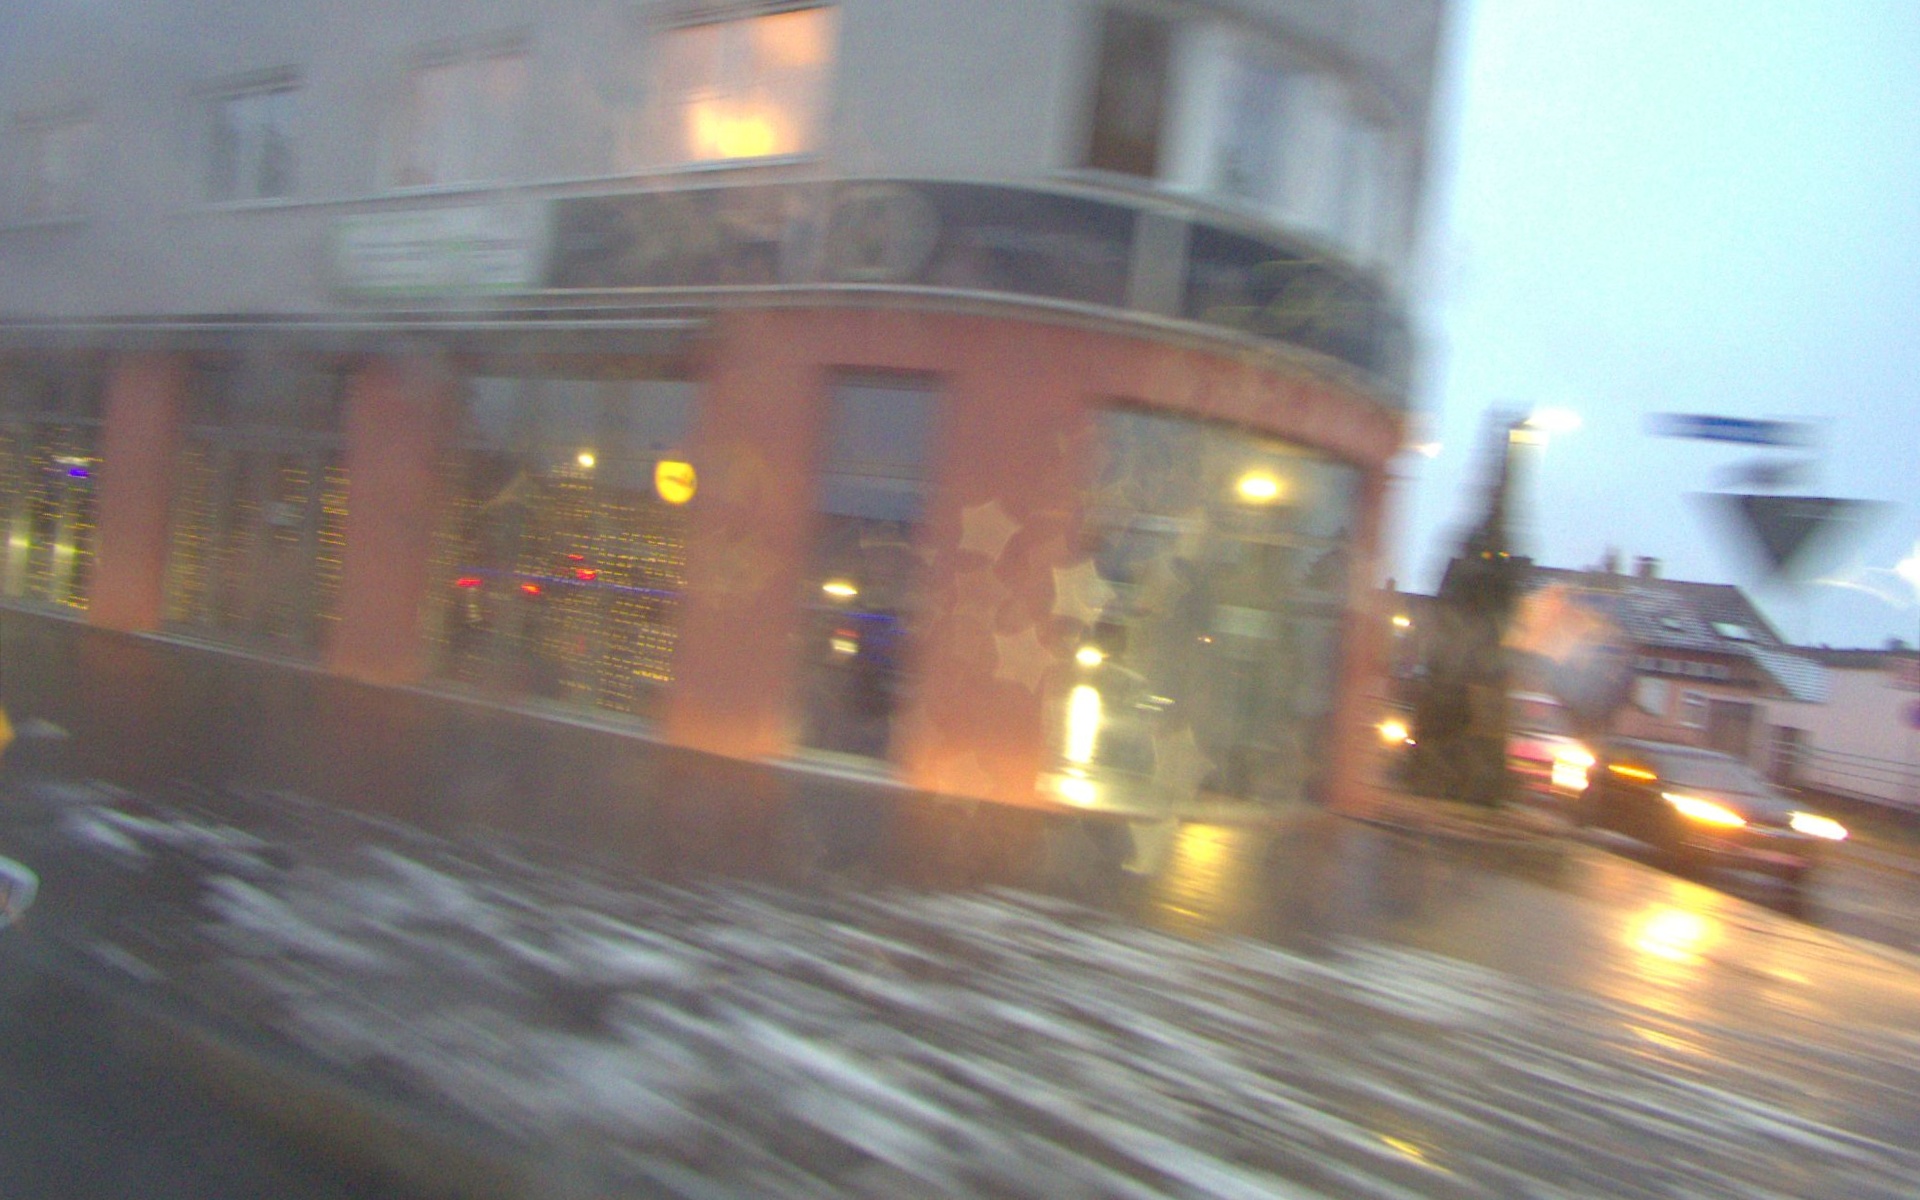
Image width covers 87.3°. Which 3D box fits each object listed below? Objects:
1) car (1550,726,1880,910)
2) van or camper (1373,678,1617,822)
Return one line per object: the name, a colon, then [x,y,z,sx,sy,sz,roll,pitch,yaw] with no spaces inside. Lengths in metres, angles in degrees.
car: [10.581,2.953,14.569,2.008,1.807,4.139,7,-3,10]
van or camper: [12.353,3.288,24.311,2.408,2.358,9.203,9,-2,12]
